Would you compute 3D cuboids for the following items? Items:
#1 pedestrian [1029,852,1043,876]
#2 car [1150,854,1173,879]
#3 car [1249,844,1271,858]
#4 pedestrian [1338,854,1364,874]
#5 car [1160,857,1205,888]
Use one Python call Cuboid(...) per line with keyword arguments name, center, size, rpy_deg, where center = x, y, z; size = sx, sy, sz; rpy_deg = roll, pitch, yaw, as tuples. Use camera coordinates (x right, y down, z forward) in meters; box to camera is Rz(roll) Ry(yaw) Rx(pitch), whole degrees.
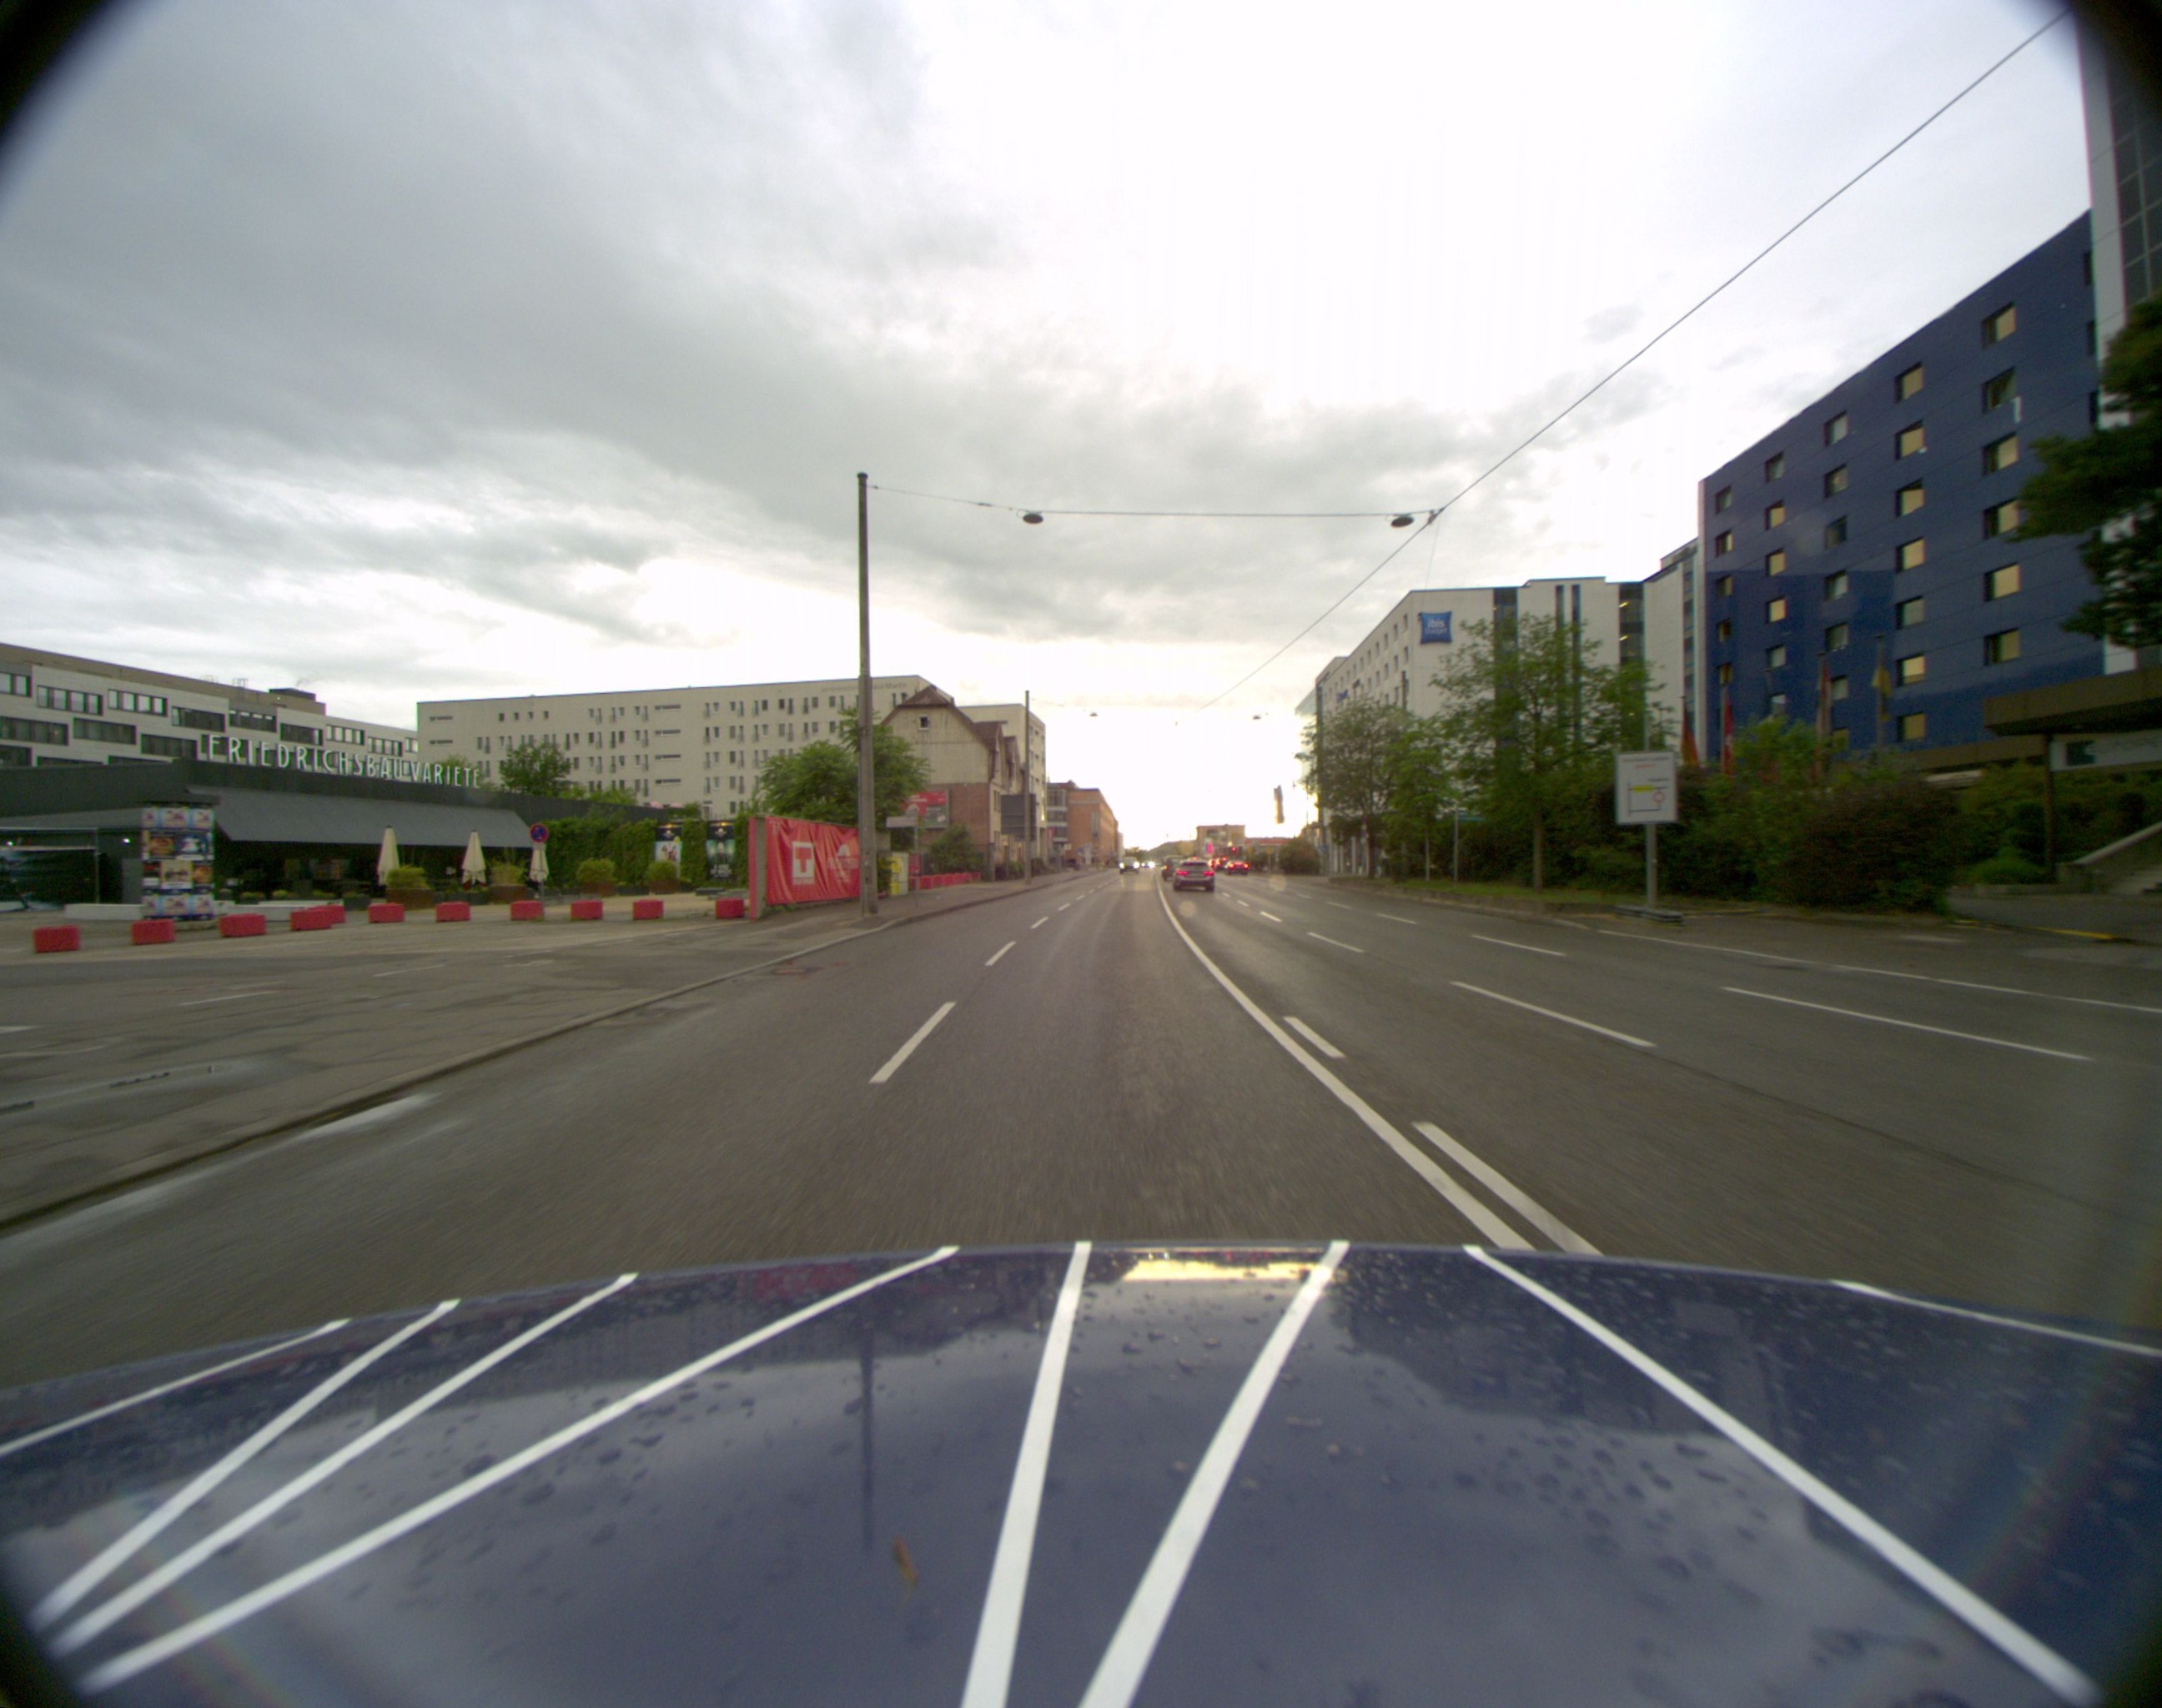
Cuboid(name="pedestrian", center=(-3.365, 0.723, 56.709), size=(0.766, 1.754, 0.914), rpy_deg=(-2, 2, 11))
Cuboid(name="car", center=(5.571, 0.880, 52.870), size=(1.506, 1.656, 3.422), rpy_deg=(0, -1, 5))
Cuboid(name="car", center=(17.873, -0.319, 75.950), size=(1.624, 1.316, 4.449), rpy_deg=(1, 0, 7))
Cuboid(name="pedestrian", center=(24.349, 0.914, 68.434), size=(1.995, 1.710, 1.698), rpy_deg=(-1, -1, 25))
Cuboid(name="car", center=(4.811, 0.858, 36.370), size=(1.716, 1.357, 4.000), rpy_deg=(0, 1, 2))
